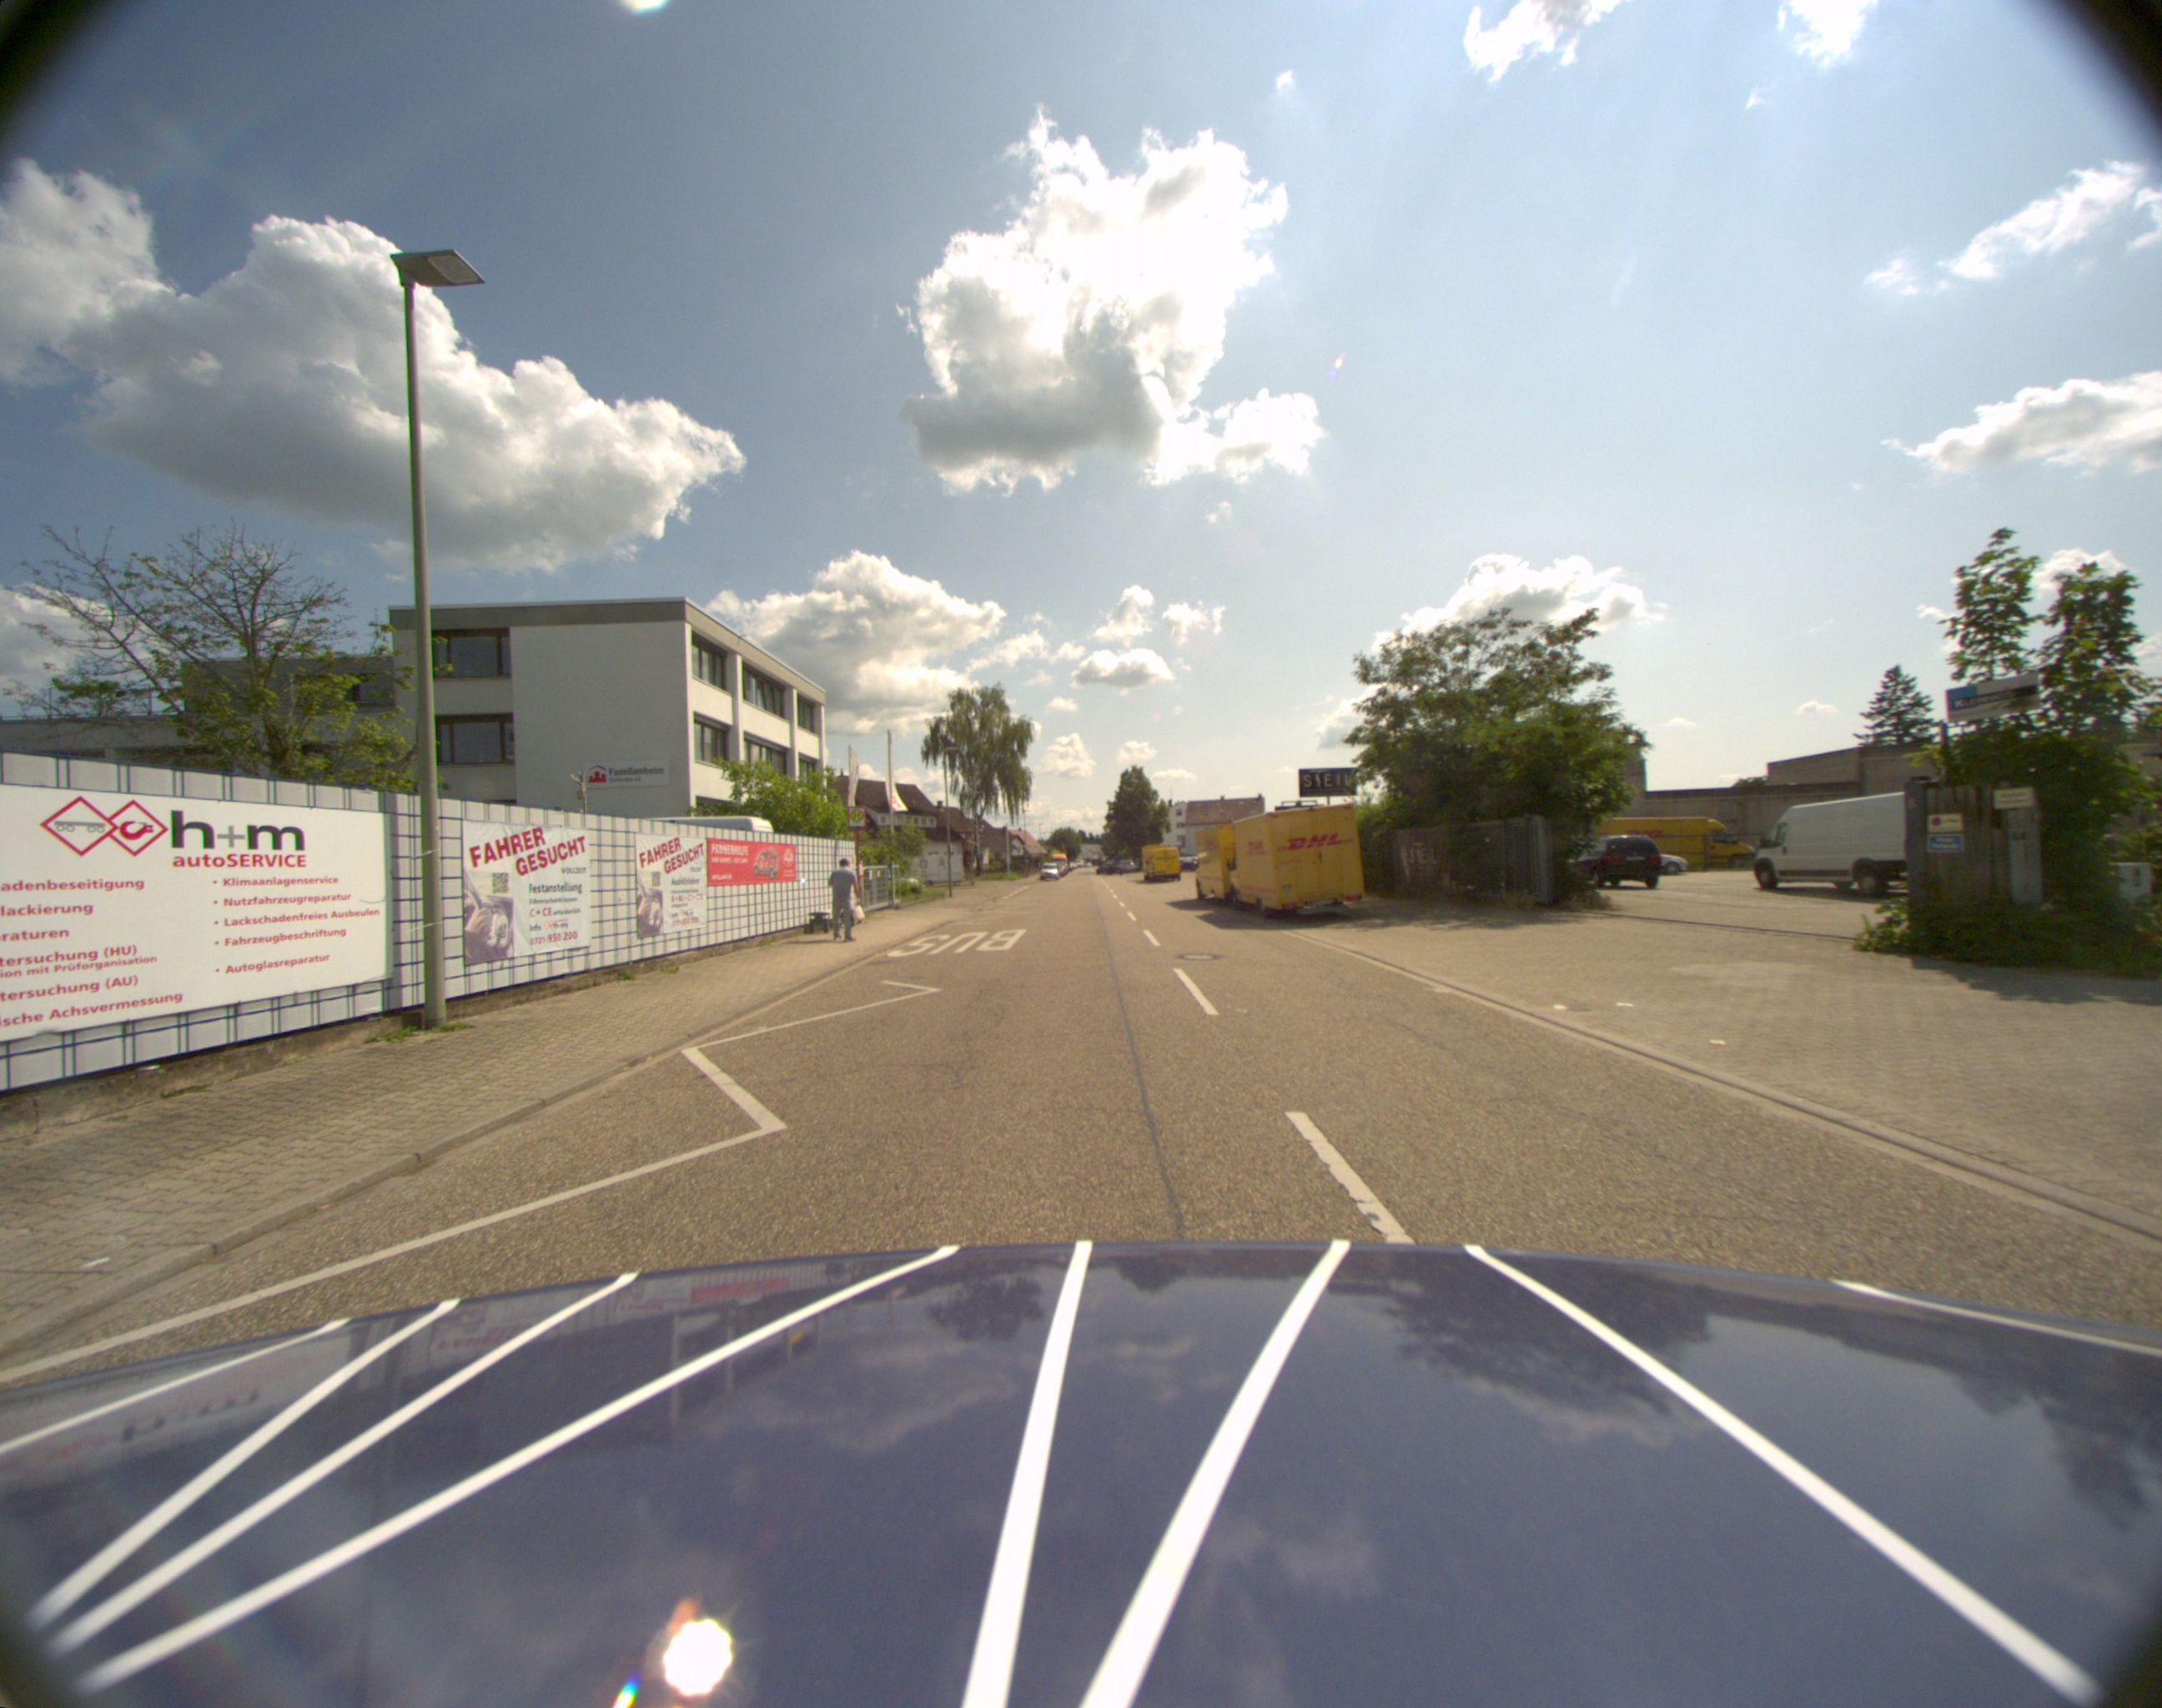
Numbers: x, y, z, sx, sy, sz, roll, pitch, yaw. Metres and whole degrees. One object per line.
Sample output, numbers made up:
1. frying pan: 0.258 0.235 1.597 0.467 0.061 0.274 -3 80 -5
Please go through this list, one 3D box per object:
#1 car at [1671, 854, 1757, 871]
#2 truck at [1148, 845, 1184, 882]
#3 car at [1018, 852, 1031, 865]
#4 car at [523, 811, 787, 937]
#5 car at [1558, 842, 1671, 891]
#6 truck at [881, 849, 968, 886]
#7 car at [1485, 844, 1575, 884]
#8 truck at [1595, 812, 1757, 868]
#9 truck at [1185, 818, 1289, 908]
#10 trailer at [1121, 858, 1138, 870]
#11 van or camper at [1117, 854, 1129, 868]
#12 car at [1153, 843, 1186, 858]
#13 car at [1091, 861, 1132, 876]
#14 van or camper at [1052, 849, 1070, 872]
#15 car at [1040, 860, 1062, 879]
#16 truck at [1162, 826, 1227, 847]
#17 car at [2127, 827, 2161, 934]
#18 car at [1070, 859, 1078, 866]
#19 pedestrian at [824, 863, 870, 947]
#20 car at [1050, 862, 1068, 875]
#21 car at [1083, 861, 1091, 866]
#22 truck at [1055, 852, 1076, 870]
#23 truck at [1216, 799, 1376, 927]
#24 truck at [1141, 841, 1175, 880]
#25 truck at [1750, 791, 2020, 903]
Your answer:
1. car: 30.192 0.408 36.265 3.058 0.717 1.009 -1 0 9
2. truck: 6.087 0.683 55.236 1.998 2.399 6.065 -4 0 2
3. car: -8.261 0.684 111.025 1.862 1.854 5.019 -2 0 -4
4. car: -9.823 0.428 17.927 4.922 2.636 2.072 -2 0 -7
5. car: 18.034 0.395 25.906 1.768 1.504 3.921 -2 0 13
6. truck: -12.183 1.054 59.121 6.067 2.562 2.561 -3 0 -26
7. car: 16.103 0.368 27.458 1.812 1.297 3.874 -1 -1 15
8. truck: 31.692 -0.687 40.741 6.426 2.749 2.327 -1 0 14
9. truck: 5.652 0.352 28.692 2.275 2.837 7.175 -3 -1 0
10. trailer: 6.066 1.234 95.351 1.766 1.282 4.508 -5 0 1
11. van or camper: 7.409 1.244 134.020 1.998 2.303 5.935 -5 0 3
12. car: 14.168 -0.550 121.297 5.008 2.219 2.002 -2 1 13
13. car: 3.392 1.617 84.668 2.003 1.386 4.582 -4 0 -38
14. van or camper: -2.482 0.827 94.553 1.999 2.648 5.769 -2 0 -1
15. car: -2.791 1.410 70.757 1.614 1.571 4.001 -3 0 2
16. truck: 16.619 -2.560 111.636 9.278 2.839 2.722 -2 0 5
17. car: 16.859 0.303 9.501 3.990 1.506 1.899 -2 -1 26
18. car: -1.692 2.167 188.534 1.896 1.763 4.709 -2 -1 0
19. pedestrian: -4.872 1.054 15.846 0.717 1.687 0.522 3 0 -4
20. car: -2.356 1.528 82.254 1.673 1.327 4.438 -2 0 0
21. car: 1.771 2.787 232.162 1.818 1.513 4.267 -1 -1 7
22. truck: -2.166 0.995 109.078 2.528 2.286 5.895 -4 0 1
23. truck: 5.672 0.225 21.369 2.322 2.845 7.104 -5 0 0
24. truck: 6.226 0.502 62.315 2.226 2.840 7.070 -4 0 2
25. truck: 20.720 -0.153 20.092 2.114 2.473 5.726 -2 0 14
